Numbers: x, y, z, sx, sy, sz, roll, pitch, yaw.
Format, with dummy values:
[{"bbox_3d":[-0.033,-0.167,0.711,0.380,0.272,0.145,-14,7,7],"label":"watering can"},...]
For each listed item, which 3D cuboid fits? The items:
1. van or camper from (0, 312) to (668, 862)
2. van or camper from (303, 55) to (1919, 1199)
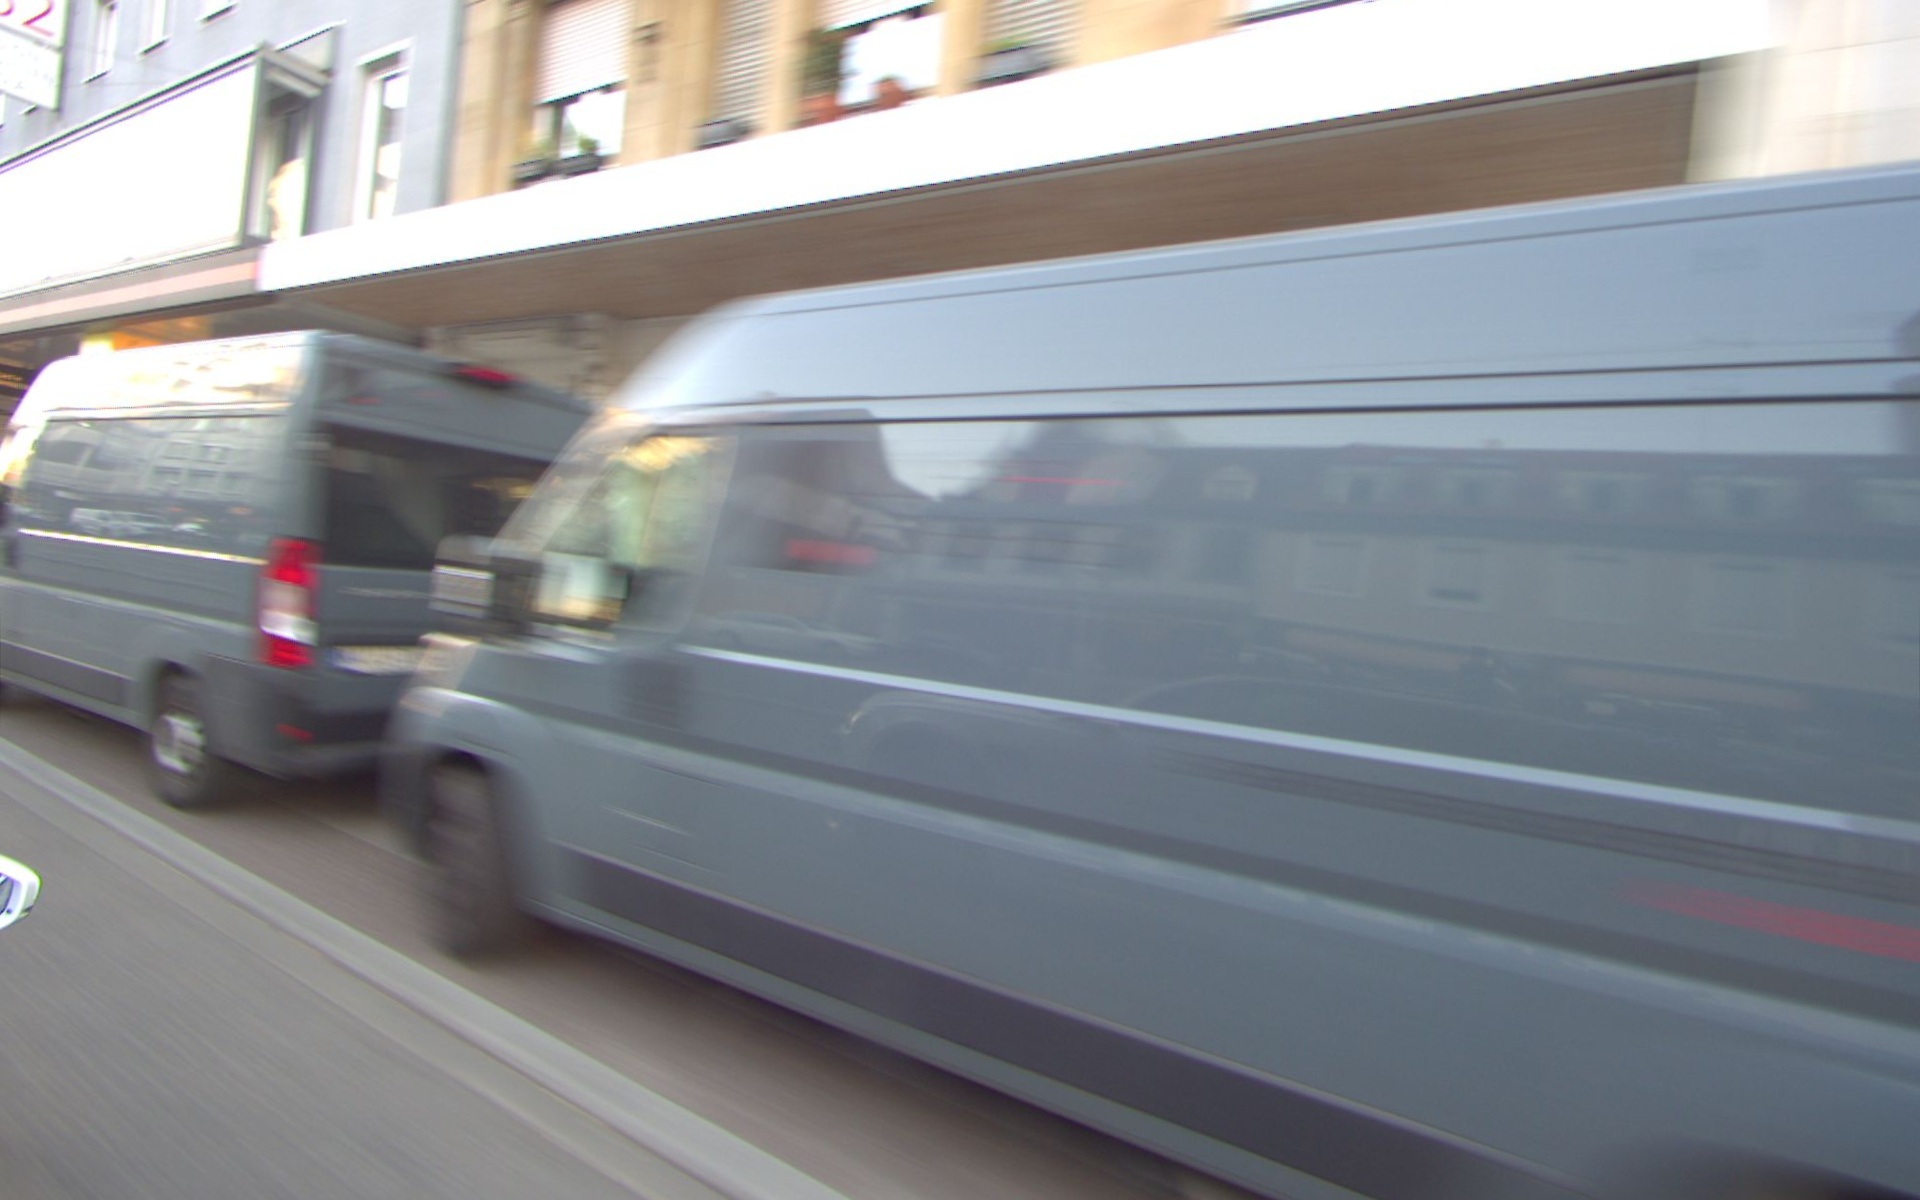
[{"bbox_3d":[-4.794,-0.268,6.844,5.426,2.459,2.189,6,2,32],"label":"van or camper"},{"bbox_3d":[0.461,0.268,3.453,6.032,2.459,2.188,7,2,33],"label":"van or camper"}]
